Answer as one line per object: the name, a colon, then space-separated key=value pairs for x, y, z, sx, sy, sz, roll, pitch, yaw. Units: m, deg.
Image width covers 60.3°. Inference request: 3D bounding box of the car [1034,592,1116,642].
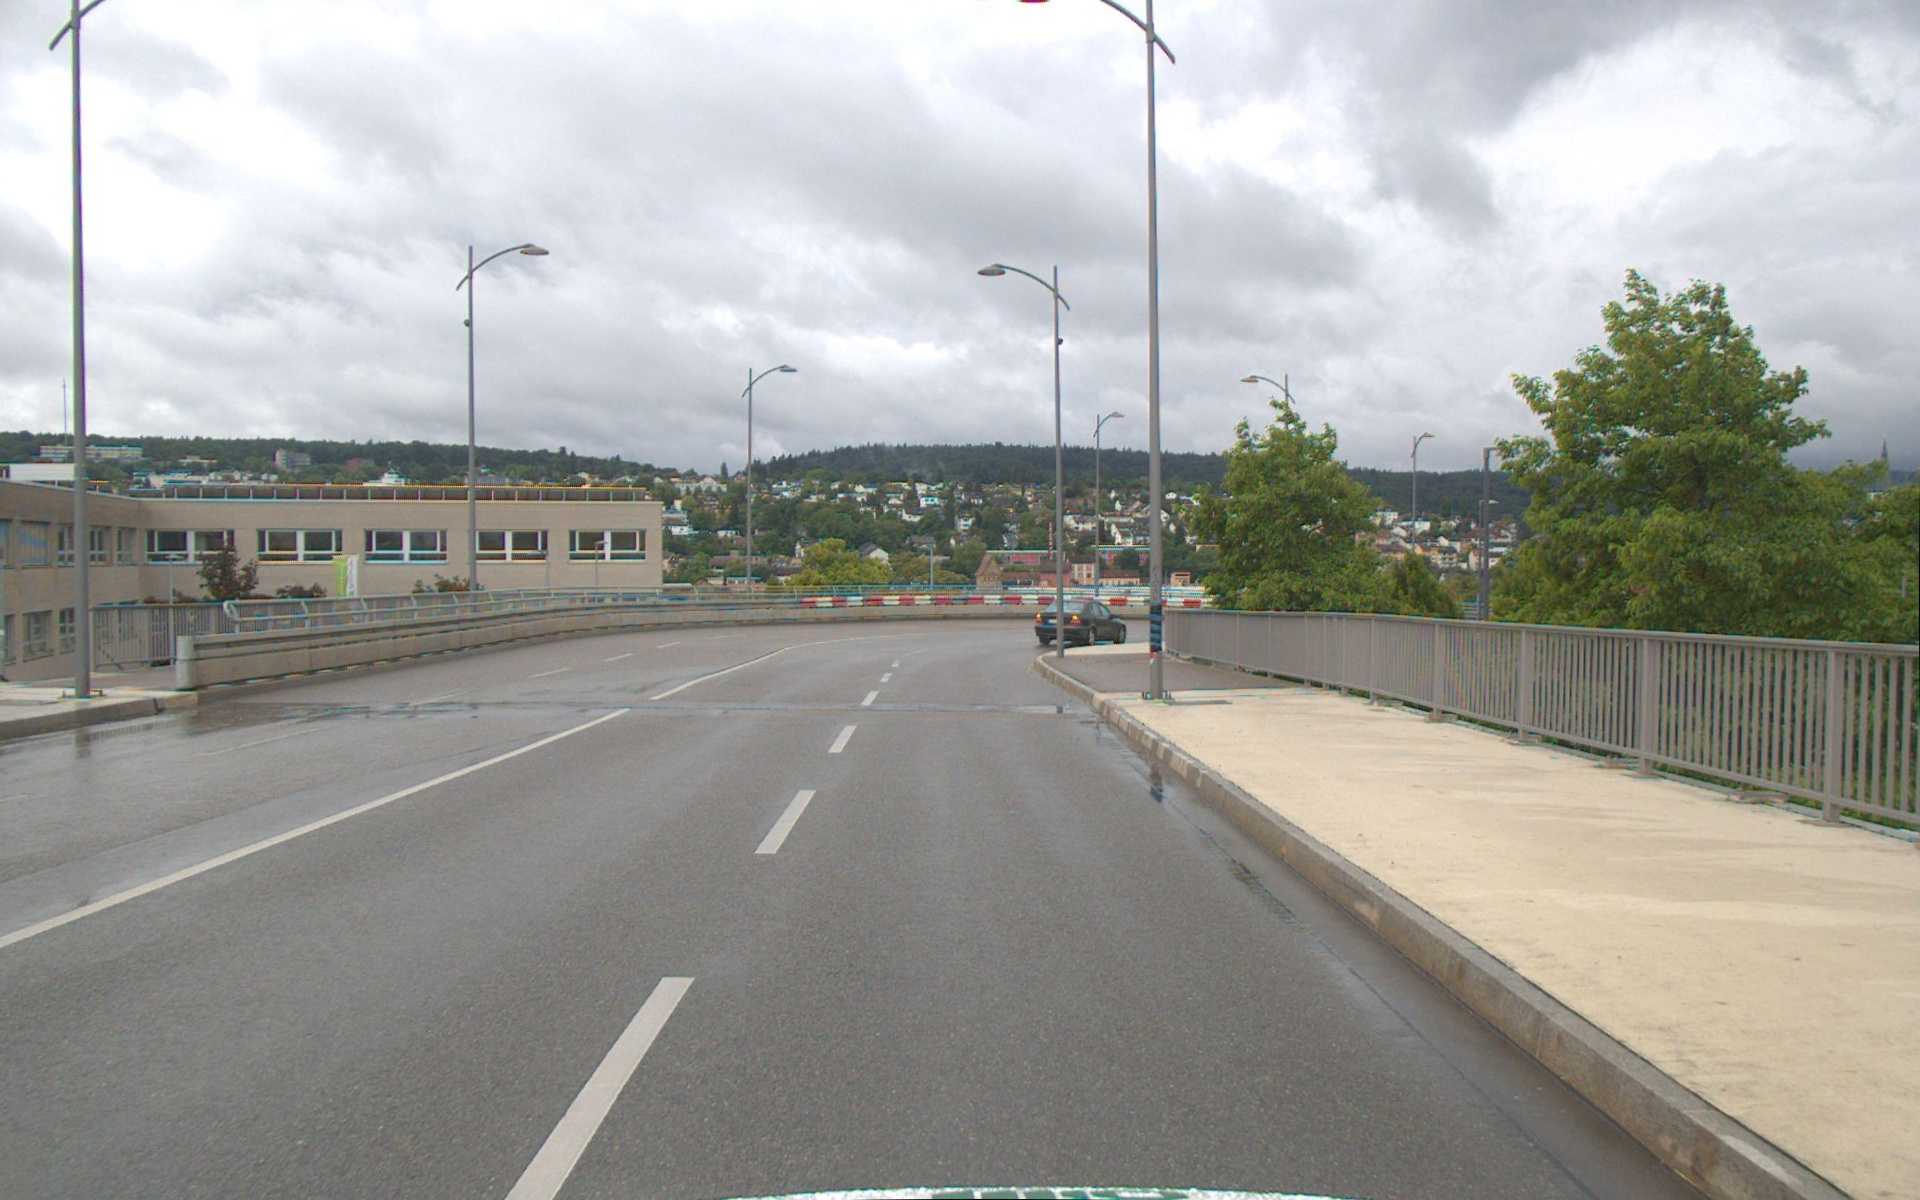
car: x=3.598 y=0.501 z=51.086 sx=1.670 sy=1.444 sz=3.727 roll=1 pitch=1 yaw=18
